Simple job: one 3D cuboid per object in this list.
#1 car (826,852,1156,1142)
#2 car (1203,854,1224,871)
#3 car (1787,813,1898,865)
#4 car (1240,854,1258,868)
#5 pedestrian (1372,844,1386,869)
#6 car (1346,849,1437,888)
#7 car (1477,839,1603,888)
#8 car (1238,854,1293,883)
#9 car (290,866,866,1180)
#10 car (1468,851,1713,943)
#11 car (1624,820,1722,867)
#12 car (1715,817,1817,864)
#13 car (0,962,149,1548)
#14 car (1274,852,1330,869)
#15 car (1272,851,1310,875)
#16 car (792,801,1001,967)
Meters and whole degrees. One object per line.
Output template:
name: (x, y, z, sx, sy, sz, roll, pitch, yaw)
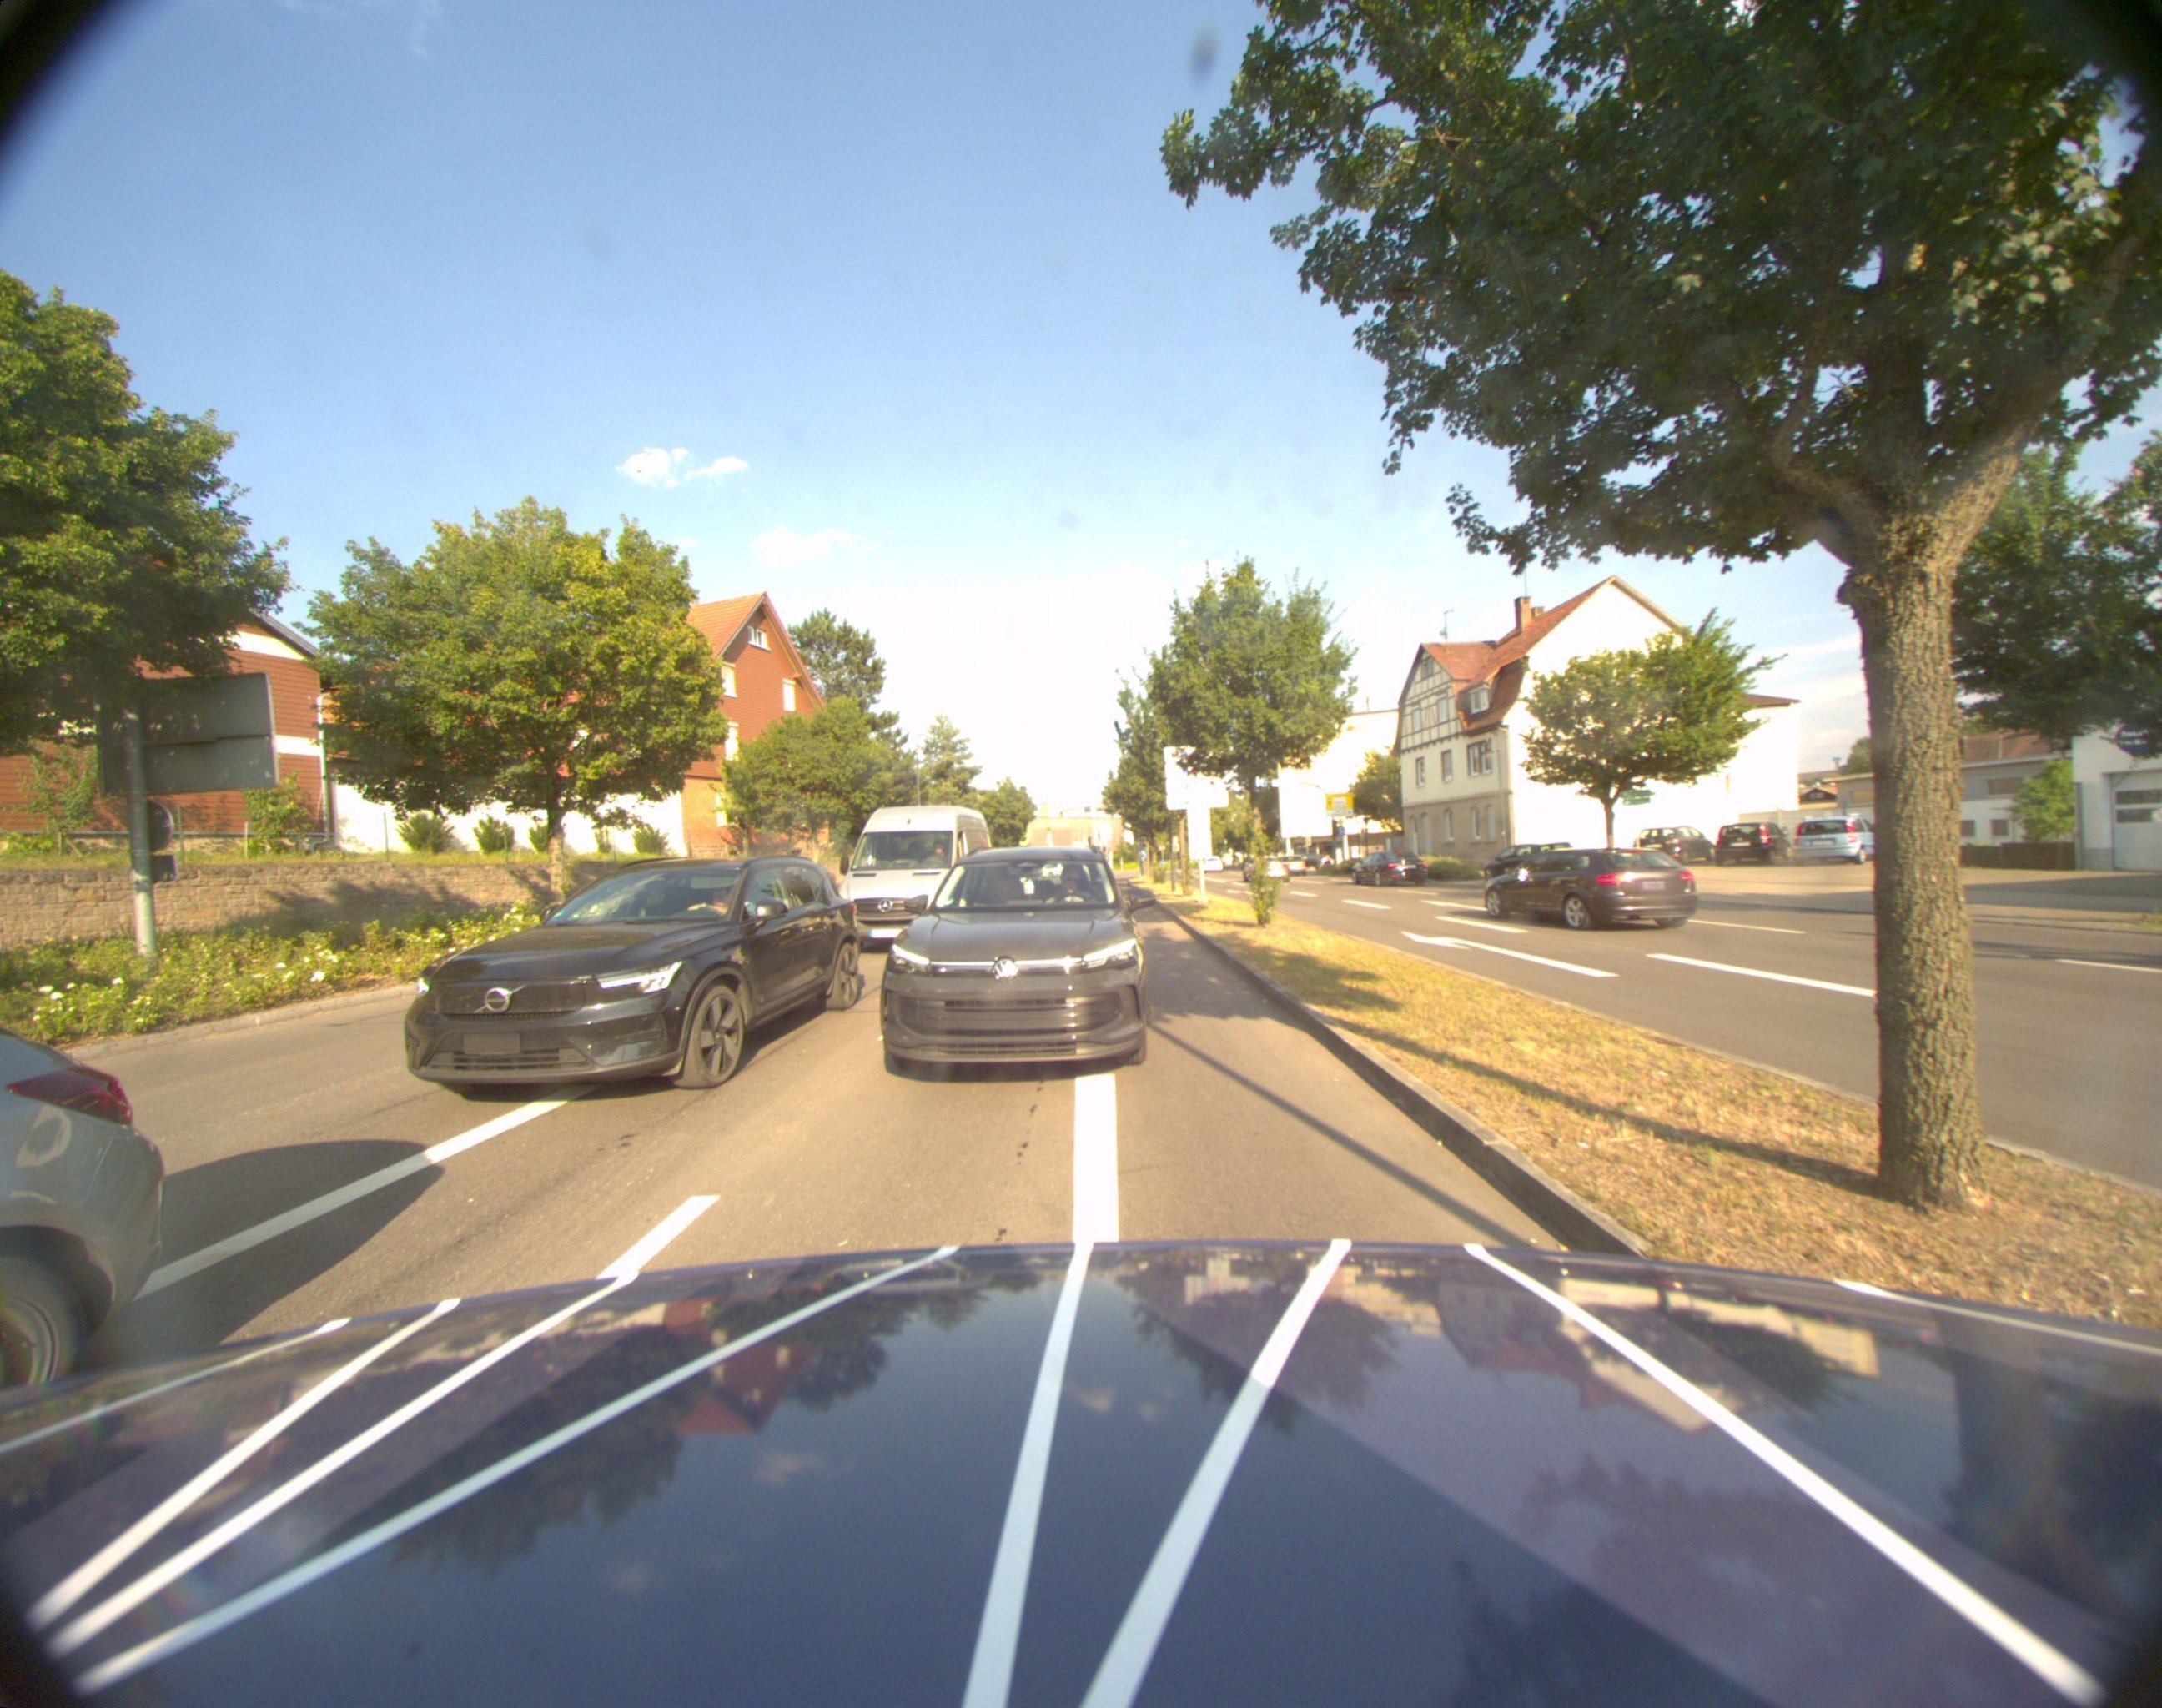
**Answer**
car: (-0.475, 0.845, 6.864, 1.894, 1.647, 4.730, -2, 0, 1)
car: (12.528, 0.812, 71.985, 1.804, 1.488, 3.958, -2, 0, 10)
car: (24.974, -0.491, 24.881, 4.006, 1.543, 1.763, -2, 1, -33)
car: (20.474, 0.824, 92.473, 1.809, 1.488, 4.250, -2, 0, 15)
pedestrian: (23.475, 0.220, 59.859, 0.589, 1.971, 0.698, -3, 1, -27)
car: (12.638, 0.530, 31.282, 1.848, 1.413, 4.644, -2, 0, 1)
car: (16.003, 0.304, 26.792, 1.839, 1.435, 4.195, -5, 0, 1)
car: (9.726, 0.719, 40.376, 1.785, 1.341, 4.478, -2, 0, 0)
car: (-3.385, 0.982, 6.290, 1.886, 1.599, 4.128, -2, 0, 2)
car: (9.075, 0.660, 14.031, 1.649, 1.378, 4.189, -2, 0, -1)
car: (23.357, -0.415, 29.950, 4.006, 1.543, 1.764, -4, 1, -33)
car: (24.843, -0.490, 27.518, 4.006, 1.543, 1.763, -2, 1, -33)
car: (-3.622, 1.069, 0.119, 1.748, 1.433, 4.166, -2, 0, 0)
car: (20.030, 0.607, 69.045, 4.660, 1.346, 1.768, -2, 1, 9)
car: (14.098, 0.553, 51.226, 1.690, 1.454, 4.713, -2, 0, 6)
car: (-3.225, 0.458, 15.006, 2.370, 2.532, 6.192, -2, 0, 2)
